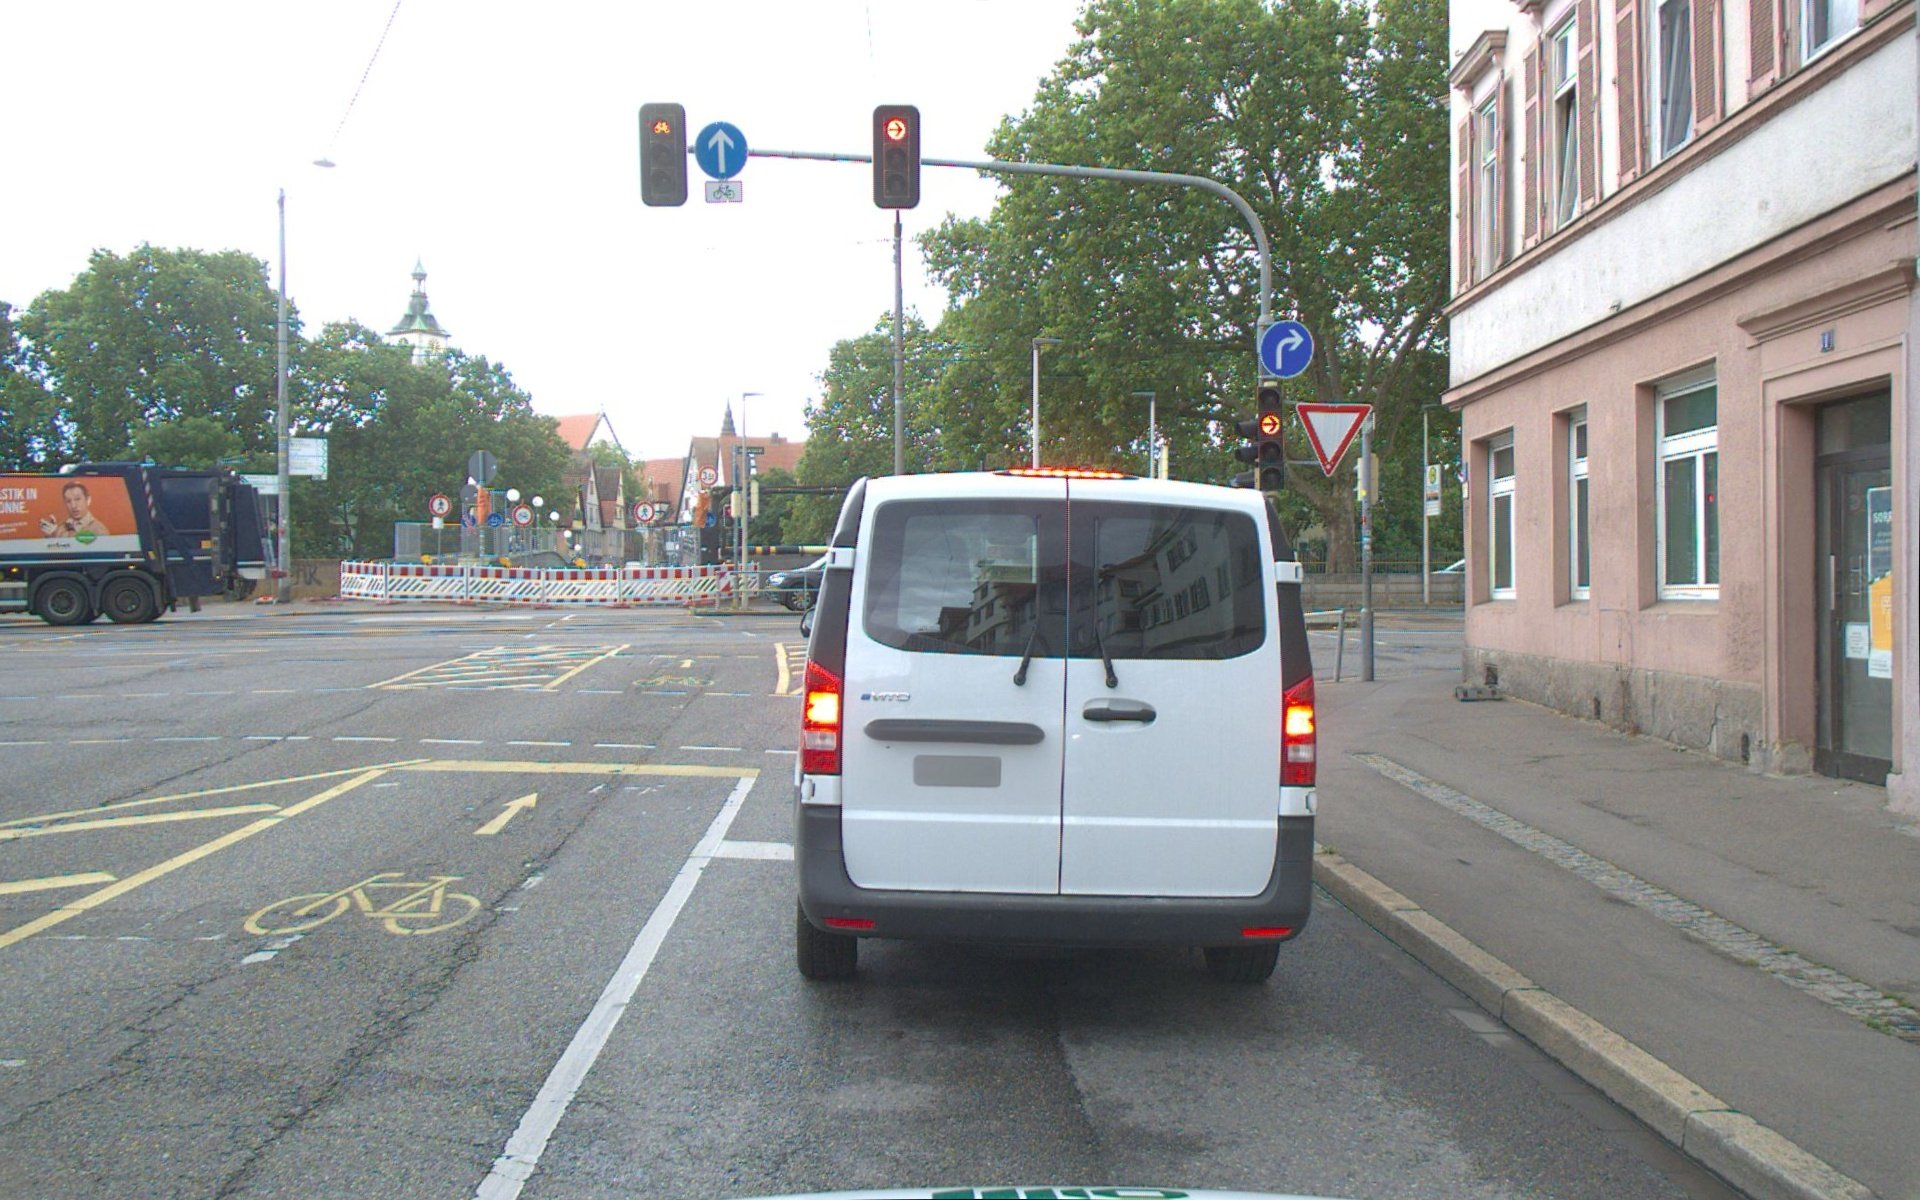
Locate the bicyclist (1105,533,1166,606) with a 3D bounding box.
[{"bbox_3d":[5.385,-0.934,50.812,1.538,2.194,1.243,0,0,-15],"label":"bicyclist"}]

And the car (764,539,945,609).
[{"bbox_3d":[-2.767,-0.669,42.916,4.438,1.663,1.995,-2,0,-11],"label":"car"}]

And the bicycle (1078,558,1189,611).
[{"bbox_3d":[5.320,-0.478,50.789,3.092,1.597,1.465,0,0,-15],"label":"bicycle"}]

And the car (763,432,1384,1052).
[{"bbox_3d":[0.285,0.388,7.372,1.953,1.956,4.248,1,2,-2],"label":"car"}]

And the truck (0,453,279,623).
[{"bbox_3d":[-21.076,-1.373,37.813,10.031,3.760,2.258,0,0,-19],"label":"truck"}]
